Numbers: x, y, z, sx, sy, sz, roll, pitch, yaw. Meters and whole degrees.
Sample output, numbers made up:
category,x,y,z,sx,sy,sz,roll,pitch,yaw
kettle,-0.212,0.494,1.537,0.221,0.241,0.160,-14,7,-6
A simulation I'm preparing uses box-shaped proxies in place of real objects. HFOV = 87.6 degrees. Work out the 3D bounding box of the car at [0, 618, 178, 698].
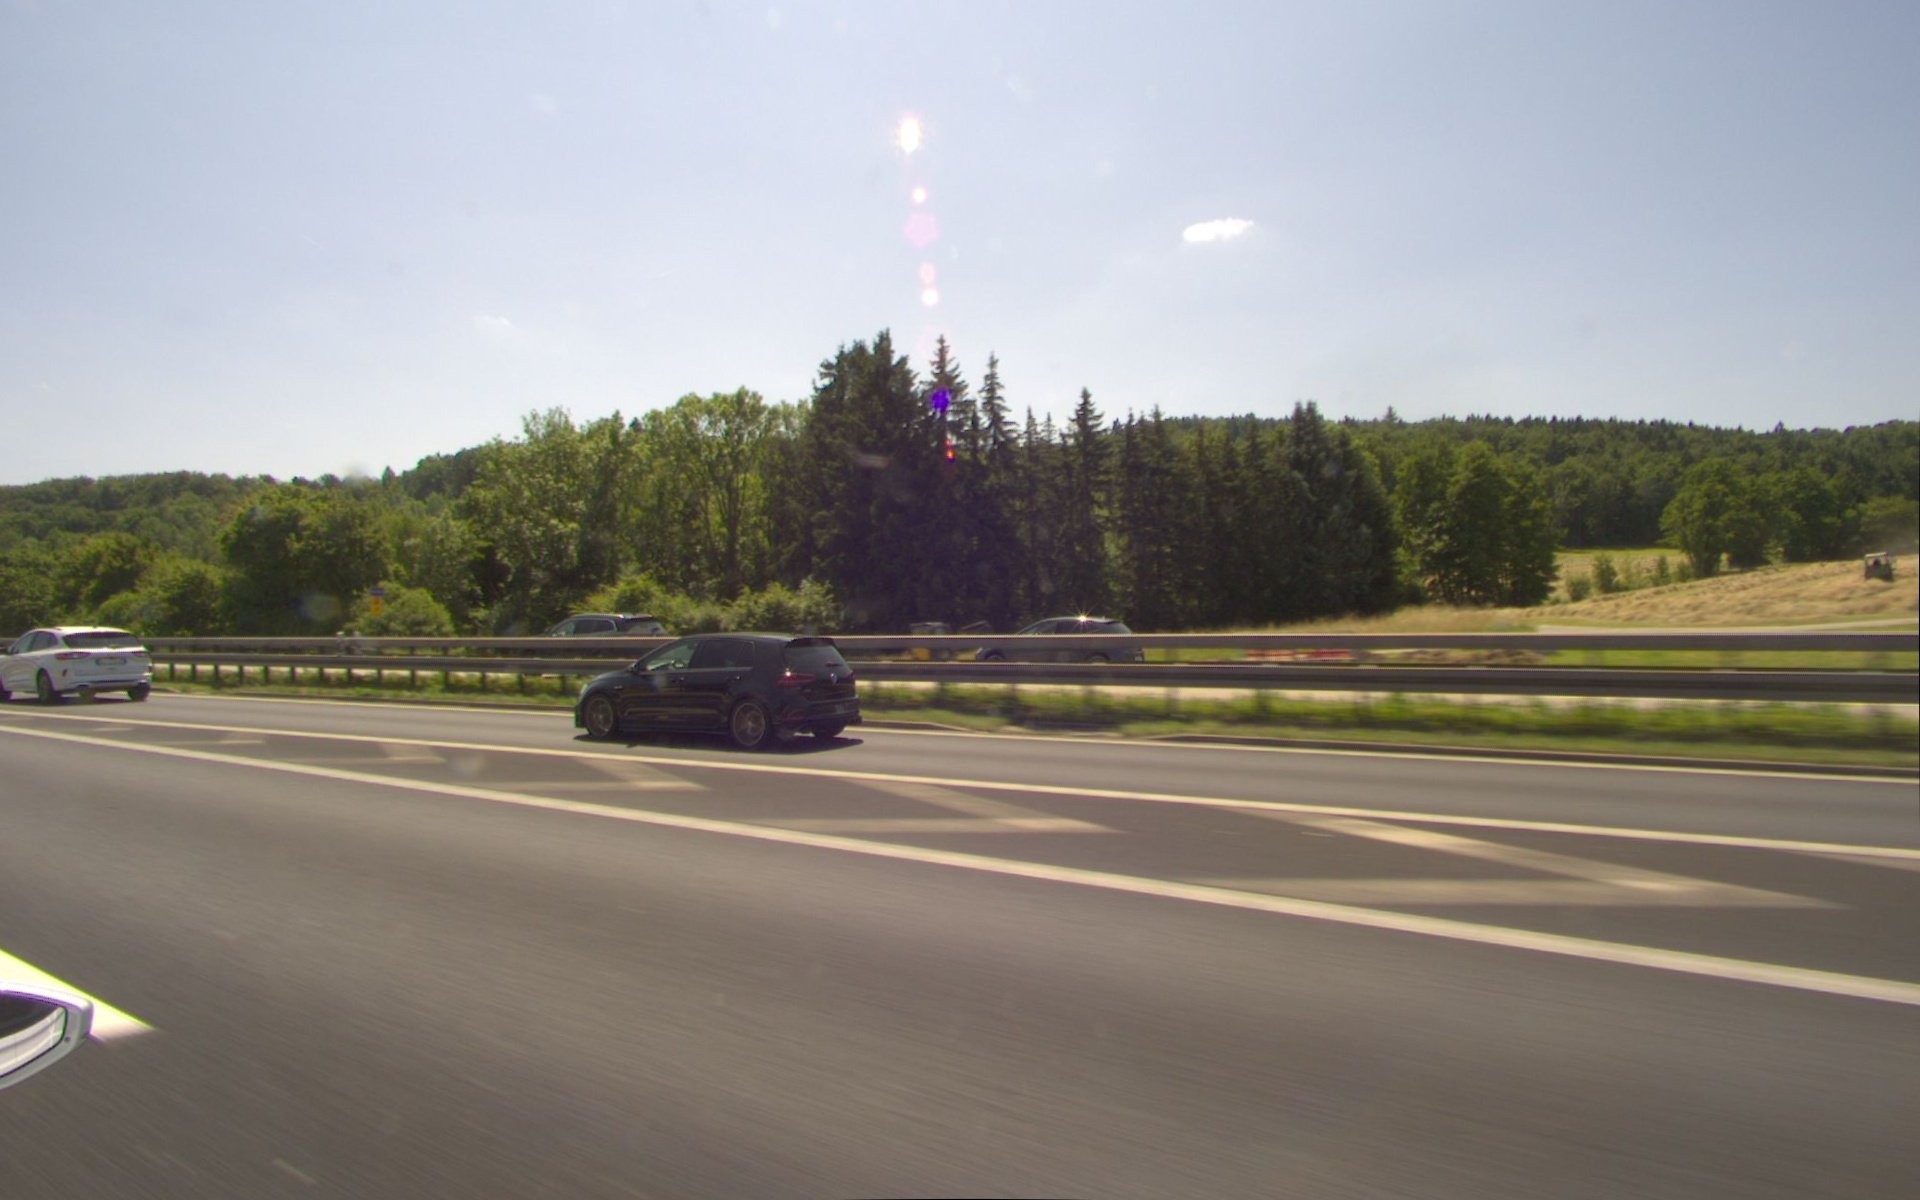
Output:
category,x,y,z,sx,sy,sz,roll,pitch,yaw
car,-20.142,1.298,22.874,4.399,1.683,1.993,-1,-2,28

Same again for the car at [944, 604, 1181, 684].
category,x,y,z,sx,sy,sz,roll,pitch,yaw
car,2.346,0.982,23.432,5.151,1.684,1.990,-1,0,30

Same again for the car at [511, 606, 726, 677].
category,x,y,z,sx,sy,sz,roll,pitch,yaw
car,-8.821,1.068,25.736,5.538,1.683,1.993,-1,-2,27

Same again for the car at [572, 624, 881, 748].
category,x,y,z,sx,sy,sz,roll,pitch,yaw
car,-3.189,1.089,13.574,3.906,1.453,1.793,-1,-2,29
